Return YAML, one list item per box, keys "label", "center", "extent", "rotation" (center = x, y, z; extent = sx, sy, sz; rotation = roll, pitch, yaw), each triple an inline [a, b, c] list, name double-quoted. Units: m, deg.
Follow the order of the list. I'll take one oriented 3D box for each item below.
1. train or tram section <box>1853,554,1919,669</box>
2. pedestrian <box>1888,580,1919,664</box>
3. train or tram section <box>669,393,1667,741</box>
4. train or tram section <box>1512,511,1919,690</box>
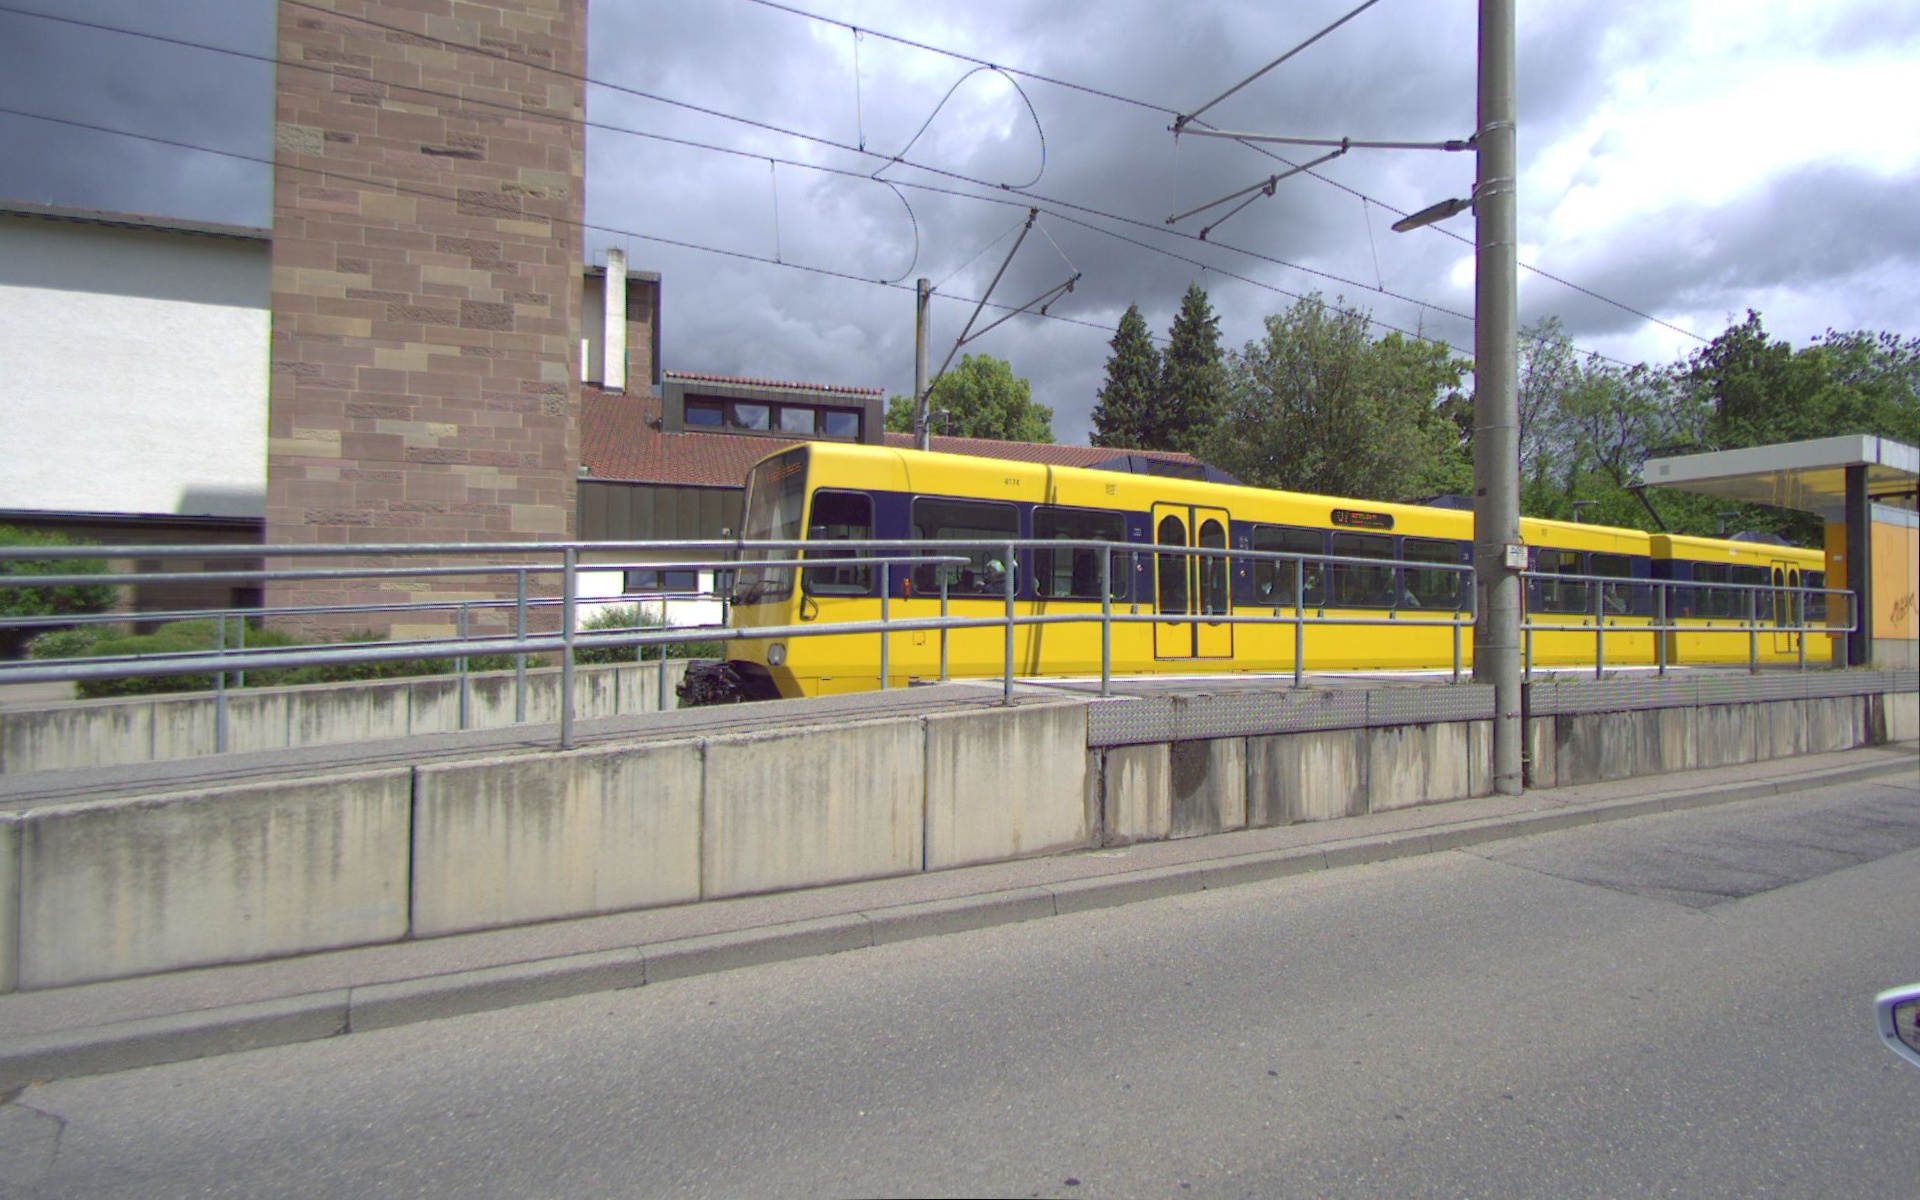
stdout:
- label: "train or tram section"
  center: [37.348, 0.527, 35.450]
  extent: [18.975, 3.511, 3.092]
  rotation: [1, 0, -31]
- label: "pedestrian"
  center: [14.105, 0.321, 14.490]
  extent: [0.909, 1.202, 0.792]
  rotation: [1, -3, -31]
- label: "train or tram section"
  center: [5.064, -0.168, 16.247]
  extent: [18.607, 3.511, 3.092]
  rotation: [1, 0, -31]
- label: "train or tram section"
  center: [21.138, 0.178, 25.813]
  extent: [18.775, 3.511, 3.092]
  rotation: [1, 0, -31]
